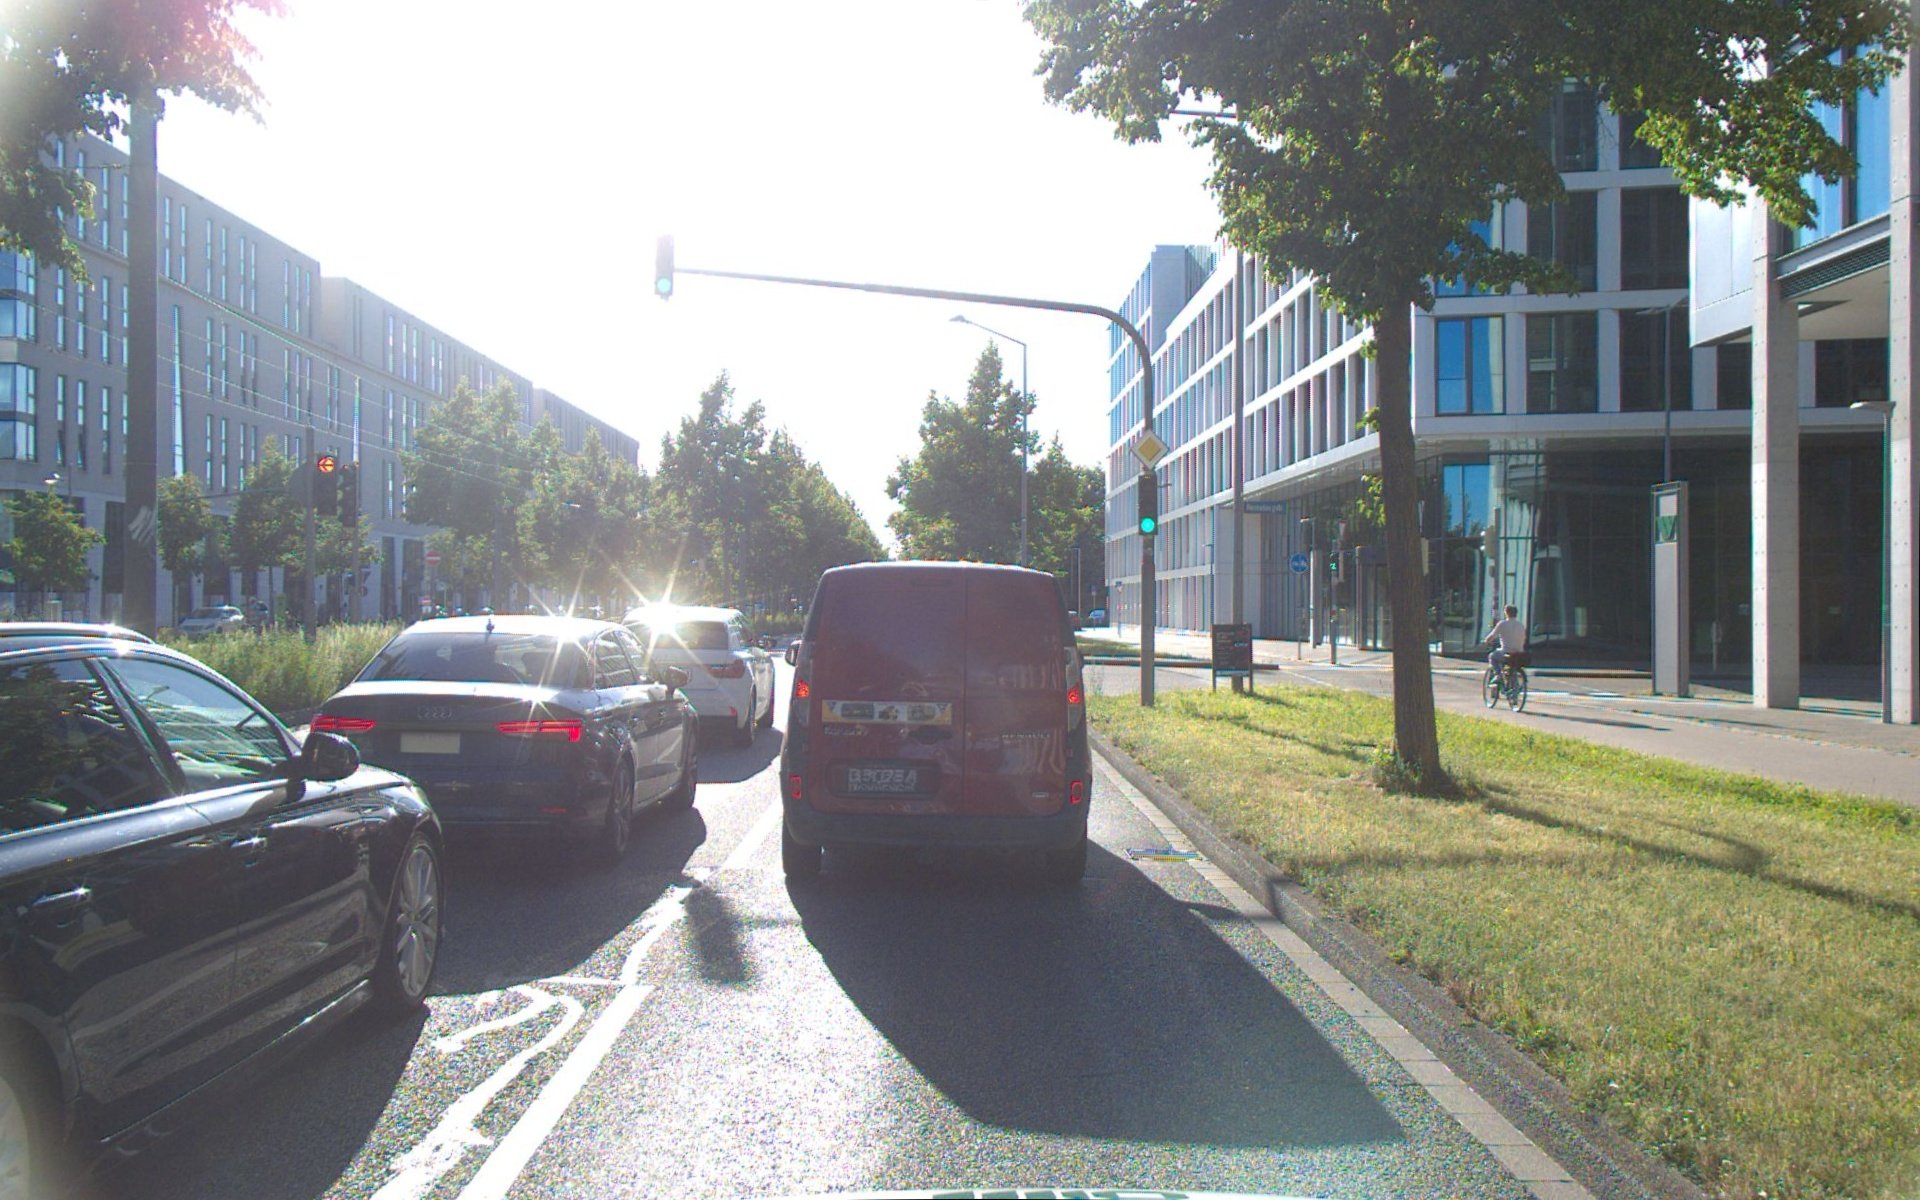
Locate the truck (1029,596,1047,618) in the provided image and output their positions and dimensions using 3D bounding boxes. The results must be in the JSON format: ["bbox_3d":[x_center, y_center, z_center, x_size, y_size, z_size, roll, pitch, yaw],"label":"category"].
[{"bbox_3d":[9.340,0.890,198.110,1.794,2.545,5.930,0,-1,-1],"label":"truck"}]

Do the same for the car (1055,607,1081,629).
[{"bbox_3d":[8.299,1.406,127.213,1.722,1.640,3.903,0,0,0],"label":"car"}]

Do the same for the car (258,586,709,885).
[{"bbox_3d":[-2.786,0.709,10.660,1.771,1.554,4.112,0,0,-1],"label":"car"}]

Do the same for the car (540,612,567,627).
[{"bbox_3d":[-36.374,1.728,148.071,1.548,1.366,3.711,0,0,-1],"label":"car"}]

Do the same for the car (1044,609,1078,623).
[{"bbox_3d":[10.055,1.634,165.280,3.327,1.382,1.472,0,-1,6],"label":"car"}]

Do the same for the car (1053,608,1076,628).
[{"bbox_3d":[8.343,1.446,132.417,1.781,1.559,3.438,0,0,2],"label":"car"}]

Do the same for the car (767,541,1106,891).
[{"bbox_3d":[-0.121,0.610,10.705,1.771,1.826,4.112,0,0,0],"label":"car"}]

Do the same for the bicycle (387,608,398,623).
[{"bbox_3d":[-40.936,1.117,119.315,0.519,1.130,1.632,1,-1,-13],"label":"bicycle"}]

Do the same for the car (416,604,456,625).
[{"bbox_3d":[-34.734,0.970,109.686,1.548,1.366,3.711,0,0,-1],"label":"car"}]

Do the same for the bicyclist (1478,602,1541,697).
[{"bbox_3d":[9.166,0.820,27.605,0.756,1.558,0.849,0,0,-1],"label":"bicyclist"}]

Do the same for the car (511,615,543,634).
[{"bbox_3d":[-35.427,1.971,135.450,1.740,1.555,3.805,0,0,-1],"label":"car"}]

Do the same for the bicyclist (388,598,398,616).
[{"bbox_3d":[-40.926,0.500,119.310,0.568,1.316,0.703,1,-1,-13],"label":"bicyclist"}]

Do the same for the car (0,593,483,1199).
[{"bbox_3d":[-2.721,0.728,4.213,1.771,1.482,4.507,0,0,-1],"label":"car"}]

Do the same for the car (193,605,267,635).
[{"bbox_3d":[-33.898,0.917,76.961,1.548,1.366,4.470,0,0,-1],"label":"car"}]

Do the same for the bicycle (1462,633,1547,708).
[{"bbox_3d":[9.155,1.165,27.875,0.726,1.194,1.960,-2,-1,-1],"label":"bicycle"}]

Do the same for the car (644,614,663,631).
[{"bbox_3d":[-36.697,2.677,197.889,1.694,2.049,3.997,0,0,-3],"label":"car"}]

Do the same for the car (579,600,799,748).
[{"bbox_3d":[-2.894,0.741,18.490,1.771,1.460,4.112,0,0,0],"label":"car"}]
